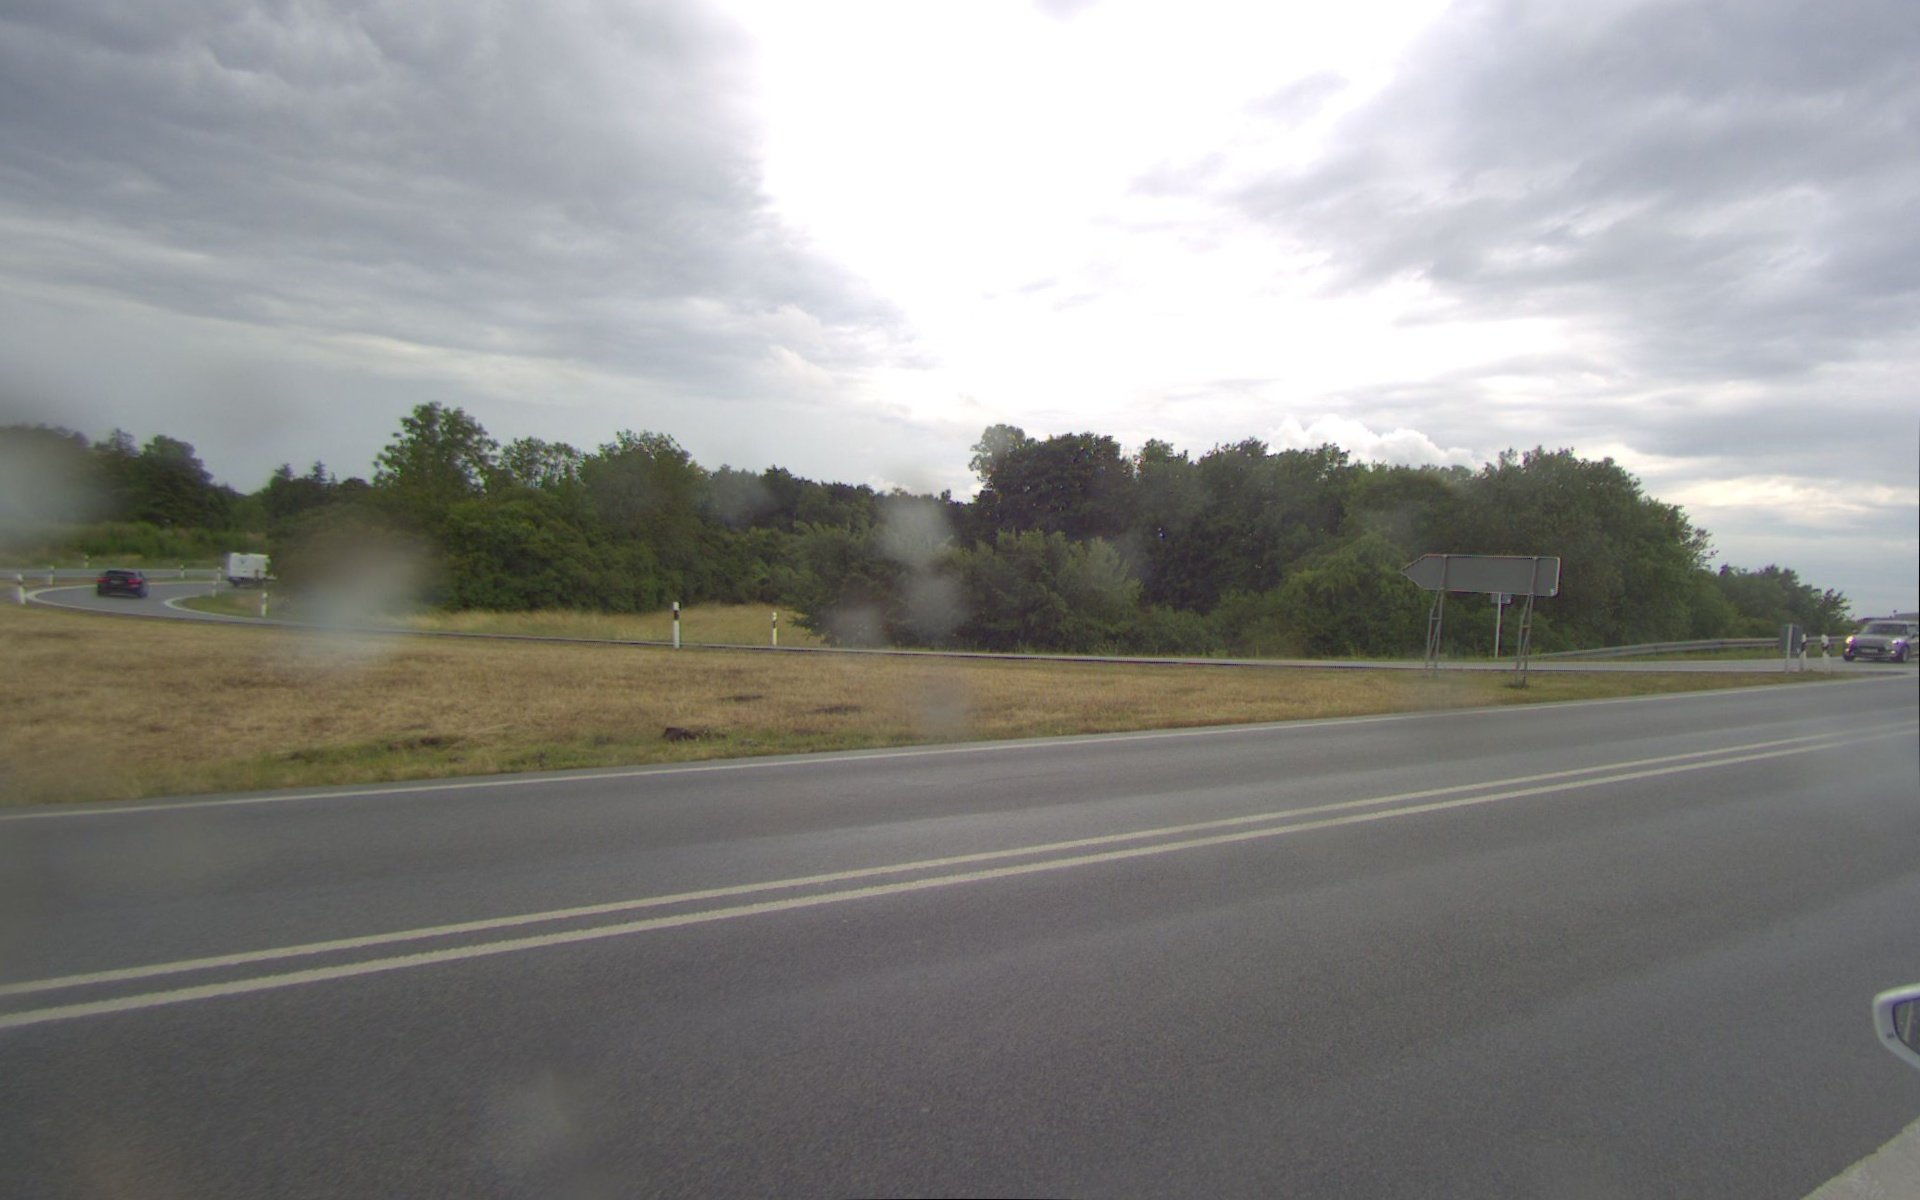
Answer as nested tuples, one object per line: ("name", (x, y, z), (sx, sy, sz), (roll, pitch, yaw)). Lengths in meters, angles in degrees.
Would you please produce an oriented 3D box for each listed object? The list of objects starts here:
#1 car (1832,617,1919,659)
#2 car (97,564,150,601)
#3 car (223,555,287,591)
("car", (33.691, 1.418, 36.496), (4.001, 1.383, 1.737), (3, -4, -29))
("car", (-43.162, -0.926, 51.790), (1.972, 1.625, 3.869), (3, 1, -41))
("car", (-52.626, -1.994, 75.117), (2.405, 2.422, 5.446), (3, 0, -19))
